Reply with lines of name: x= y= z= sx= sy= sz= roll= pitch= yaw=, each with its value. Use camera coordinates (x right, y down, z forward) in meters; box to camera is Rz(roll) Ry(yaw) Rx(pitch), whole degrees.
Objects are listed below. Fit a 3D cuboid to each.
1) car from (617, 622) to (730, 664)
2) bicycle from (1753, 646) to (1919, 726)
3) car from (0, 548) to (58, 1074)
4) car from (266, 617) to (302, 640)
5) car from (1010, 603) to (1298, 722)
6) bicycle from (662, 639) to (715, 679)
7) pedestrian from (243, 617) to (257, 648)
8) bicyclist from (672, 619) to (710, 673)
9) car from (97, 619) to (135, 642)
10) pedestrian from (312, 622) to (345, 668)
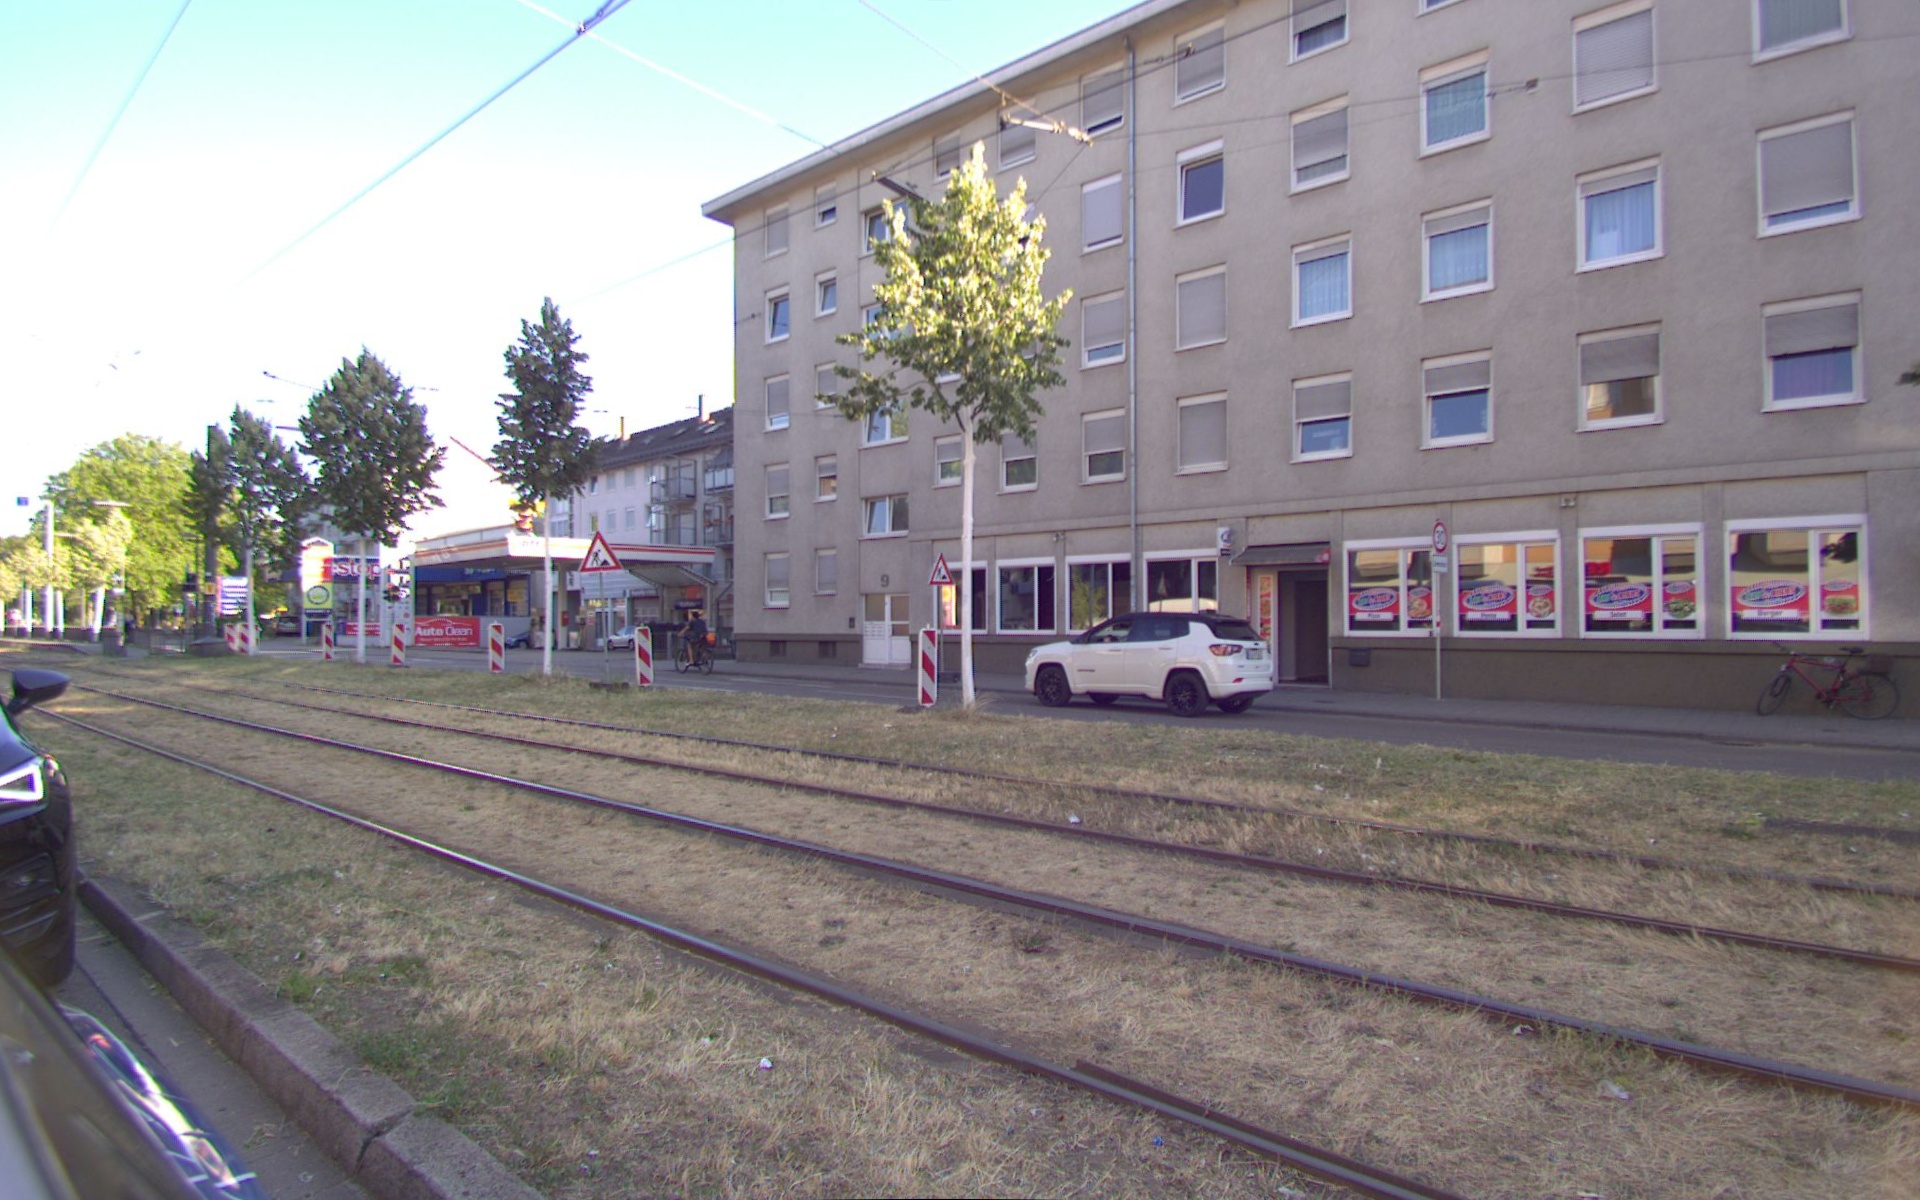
car: x=-10.749 y=1.610 z=38.110 sx=1.906 sy=1.481 sz=3.680 roll=-4 pitch=-4 yaw=40
bicycle: x=12.746 y=1.224 z=14.751 sx=1.844 sy=1.031 sz=0.601 roll=-1 pitch=0 yaw=41
car: x=-5.069 y=0.715 z=4.020 sx=3.998 sy=1.690 sz=1.752 roll=-1 pitch=-1 yaw=41
car: x=-49.995 y=2.098 z=74.800 sx=1.756 sy=1.567 sz=4.006 roll=-1 pitch=0 yaw=-40
car: x=3.151 y=0.983 z=17.015 sx=4.394 sy=1.748 sz=1.971 roll=-2 pitch=-3 yaw=43
bicycle: x=-7.449 y=1.598 z=27.766 sx=1.859 sy=1.052 sz=0.441 roll=-1 pitch=-2 yaw=41
pedestrian: x=-46.502 y=2.141 z=66.258 sx=0.583 sy=2.029 sz=0.623 roll=-2 pitch=-2 yaw=42
bicyclist: x=-7.376 y=1.242 z=27.725 sx=0.649 sy=1.457 sz=0.770 roll=-2 pitch=-2 yaw=40
car: x=-62.796 y=2.240 z=75.285 sx=3.828 sy=1.622 sz=1.701 roll=-1 pitch=0 yaw=43
pedestrian: x=-18.229 y=1.296 z=29.223 sx=0.581 sy=1.280 sz=0.655 roll=-3 pitch=-1 yaw=42
